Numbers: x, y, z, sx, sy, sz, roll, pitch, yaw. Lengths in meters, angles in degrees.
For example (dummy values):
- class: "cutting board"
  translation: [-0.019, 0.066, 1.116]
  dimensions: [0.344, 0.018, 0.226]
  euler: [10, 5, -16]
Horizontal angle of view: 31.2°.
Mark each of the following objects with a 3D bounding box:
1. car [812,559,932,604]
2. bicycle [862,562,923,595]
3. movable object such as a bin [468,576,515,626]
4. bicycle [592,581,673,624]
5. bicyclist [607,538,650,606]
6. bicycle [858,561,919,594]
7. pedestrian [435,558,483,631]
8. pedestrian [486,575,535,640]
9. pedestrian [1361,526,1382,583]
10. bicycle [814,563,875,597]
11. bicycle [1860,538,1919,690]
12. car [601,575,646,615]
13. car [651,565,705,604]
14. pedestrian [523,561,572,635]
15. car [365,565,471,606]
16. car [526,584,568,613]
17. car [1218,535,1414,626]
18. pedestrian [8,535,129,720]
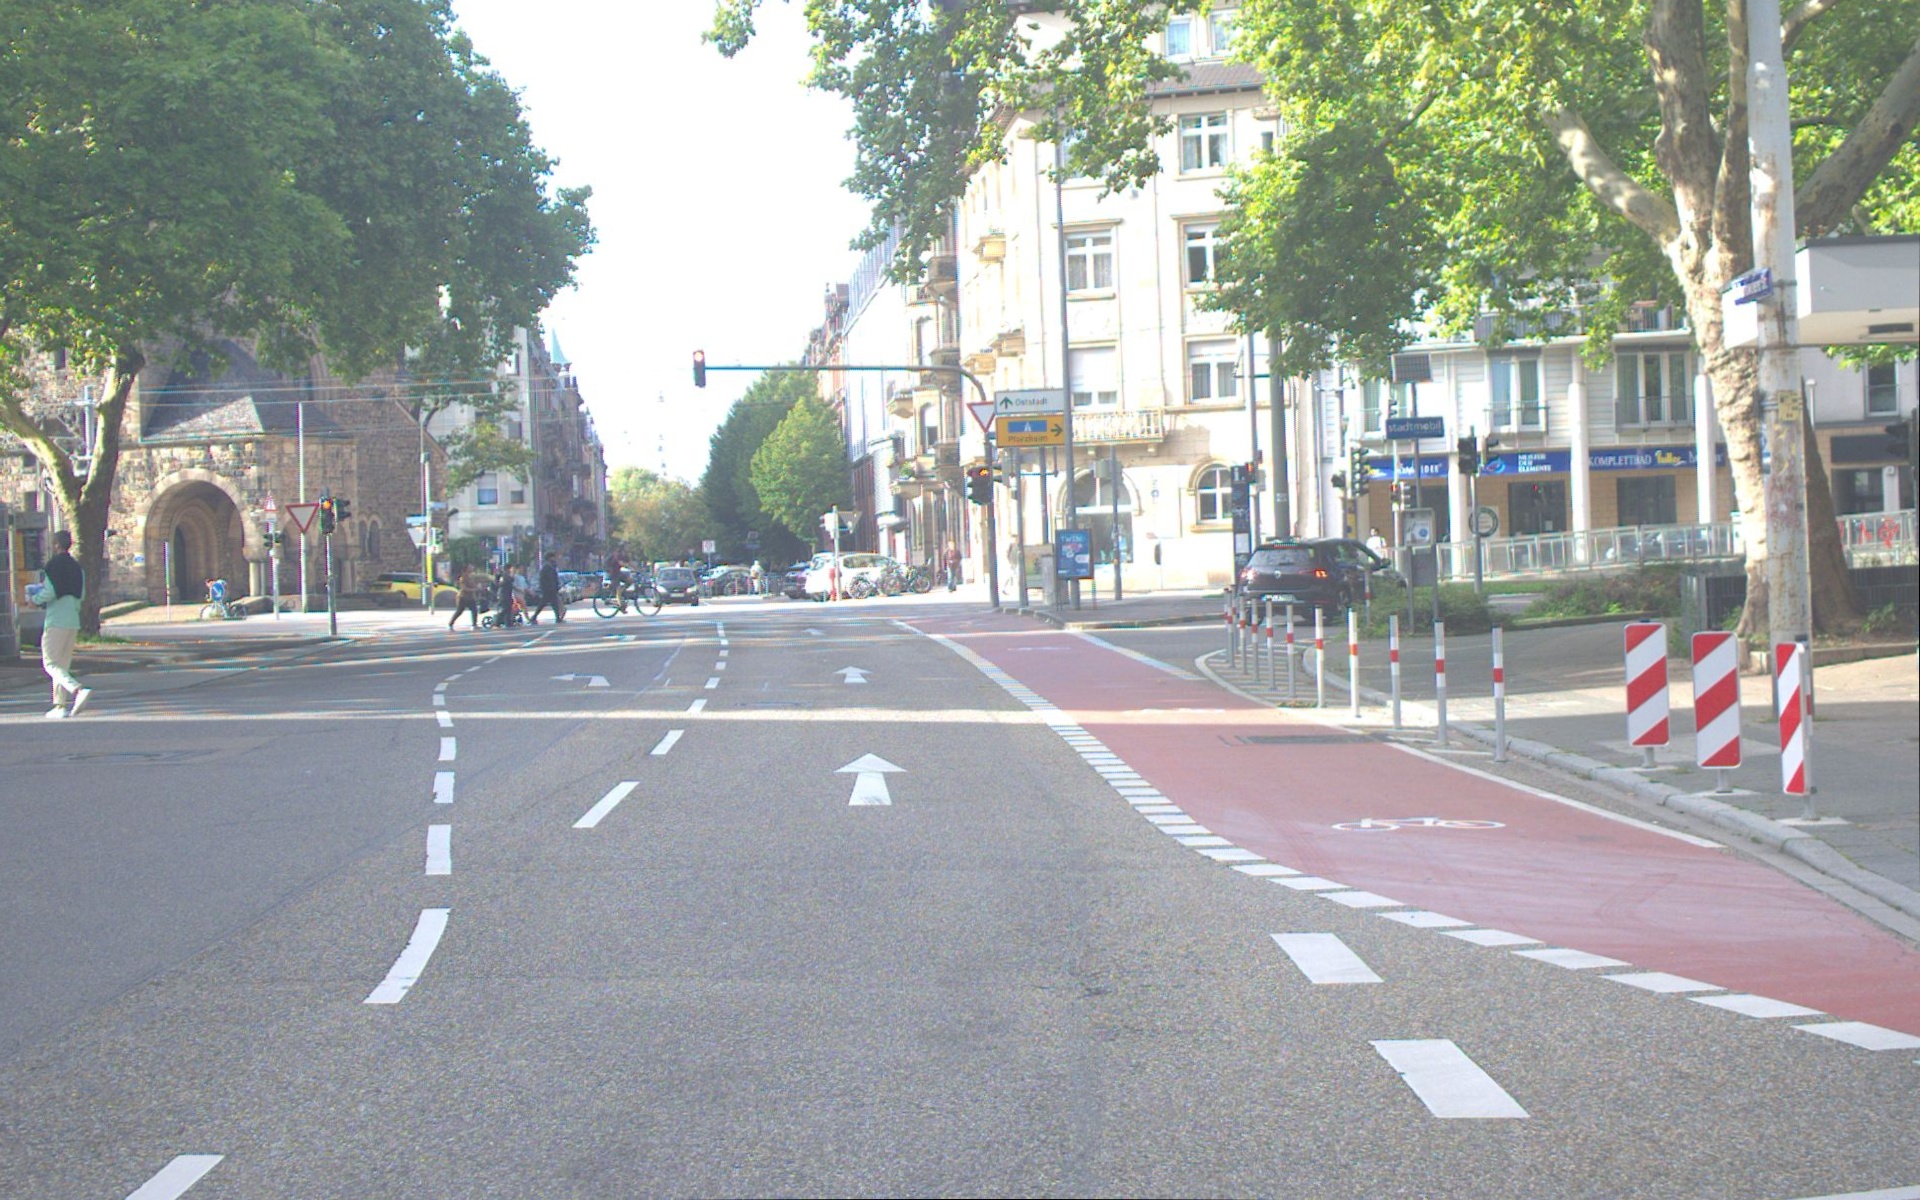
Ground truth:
- class: "car"
  translation: [-3.123, -0.660, 121.537]
  dimensions: [3.986, 1.415, 2.000]
  euler: [-2, 1, -7]
- class: "bicycle"
  translation: [-2.342, -0.749, 119.229]
  dimensions: [2.022, 1.078, 0.620]
  euler: [-2, 1, -13]
- class: "movable object such as a bin"
  translation: [-10.658, 0.023, 78.193]
  dimensions: [0.838, 1.120, 0.575]
  euler: [-2, 1, 19]
- class: "bicycle"
  translation: [-7.785, 0.064, 81.717]
  dimensions: [1.832, 0.952, 0.572]
  euler: [-2, 1, 22]
- class: "bicyclist"
  translation: [-7.886, -0.664, 81.749]
  dimensions: [0.779, 1.574, 0.625]
  euler: [-2, 1, 22]
- class: "bicycle"
  translation: [-2.501, -0.781, 119.867]
  dimensions: [2.022, 1.078, 0.631]
  euler: [-2, 1, -13]
- class: "pedestrian"
  translation: [-11.425, -0.124, 78.454]
  dimensions: [0.815, 1.623, 0.604]
  euler: [-2, 1, 21]
- class: "pedestrian"
  translation: [-10.063, 0.165, 77.022]
  dimensions: [0.782, 1.427, 0.730]
  euler: [-2, 1, 20]
- class: "pedestrian"
  translation: [12.410, -1.366, 103.644]
  dimensions: [0.496, 1.708, 0.526]
  euler: [1, 0, 20]
- class: "bicycle"
  translation: [-4.004, -0.701, 119.160]
  dimensions: [2.022, 1.078, 0.620]
  euler: [-2, 1, -13]
- class: "bicycle"
  translation: [8.014, 0.089, 28.198]
  dimensions: [0.712, 1.202, 1.815]
  euler: [-5, 0, 1]
- class: "car"
  translation: [-17.787, -0.280, 181.725]
  dimensions: [1.993, 2.007, 4.000]
  euler: [-2, 1, -1]
- class: "car"
  translation: [-10.566, -0.598, 129.006]
  dimensions: [1.949, 1.367, 4.001]
  euler: [-2, 1, -4]
- class: "pedestrian"
  translation: [-9.384, -0.044, 78.269]
  dimensions: [0.781, 1.656, 0.778]
  euler: [-2, 1, 19]
- class: "car"
  translation: [-22.774, -0.607, 144.550]
  dimensions: [3.989, 1.590, 1.868]
  euler: [-3, 1, -43]
- class: "car"
  translation: [-18.541, -0.077, 154.397]
  dimensions: [1.550, 1.225, 3.588]
  euler: [-1, 1, -1]
- class: "car"
  translation: [5.963, -0.341, 57.259]
  dimensions: [1.754, 1.409, 3.994]
  euler: [-1, 1, 30]
- class: "pedestrian"
  translation: [-8.637, 0.256, 33.296]
  dimensions: [1.074, 1.747, 0.919]
  euler: [-1, 1, -17]
